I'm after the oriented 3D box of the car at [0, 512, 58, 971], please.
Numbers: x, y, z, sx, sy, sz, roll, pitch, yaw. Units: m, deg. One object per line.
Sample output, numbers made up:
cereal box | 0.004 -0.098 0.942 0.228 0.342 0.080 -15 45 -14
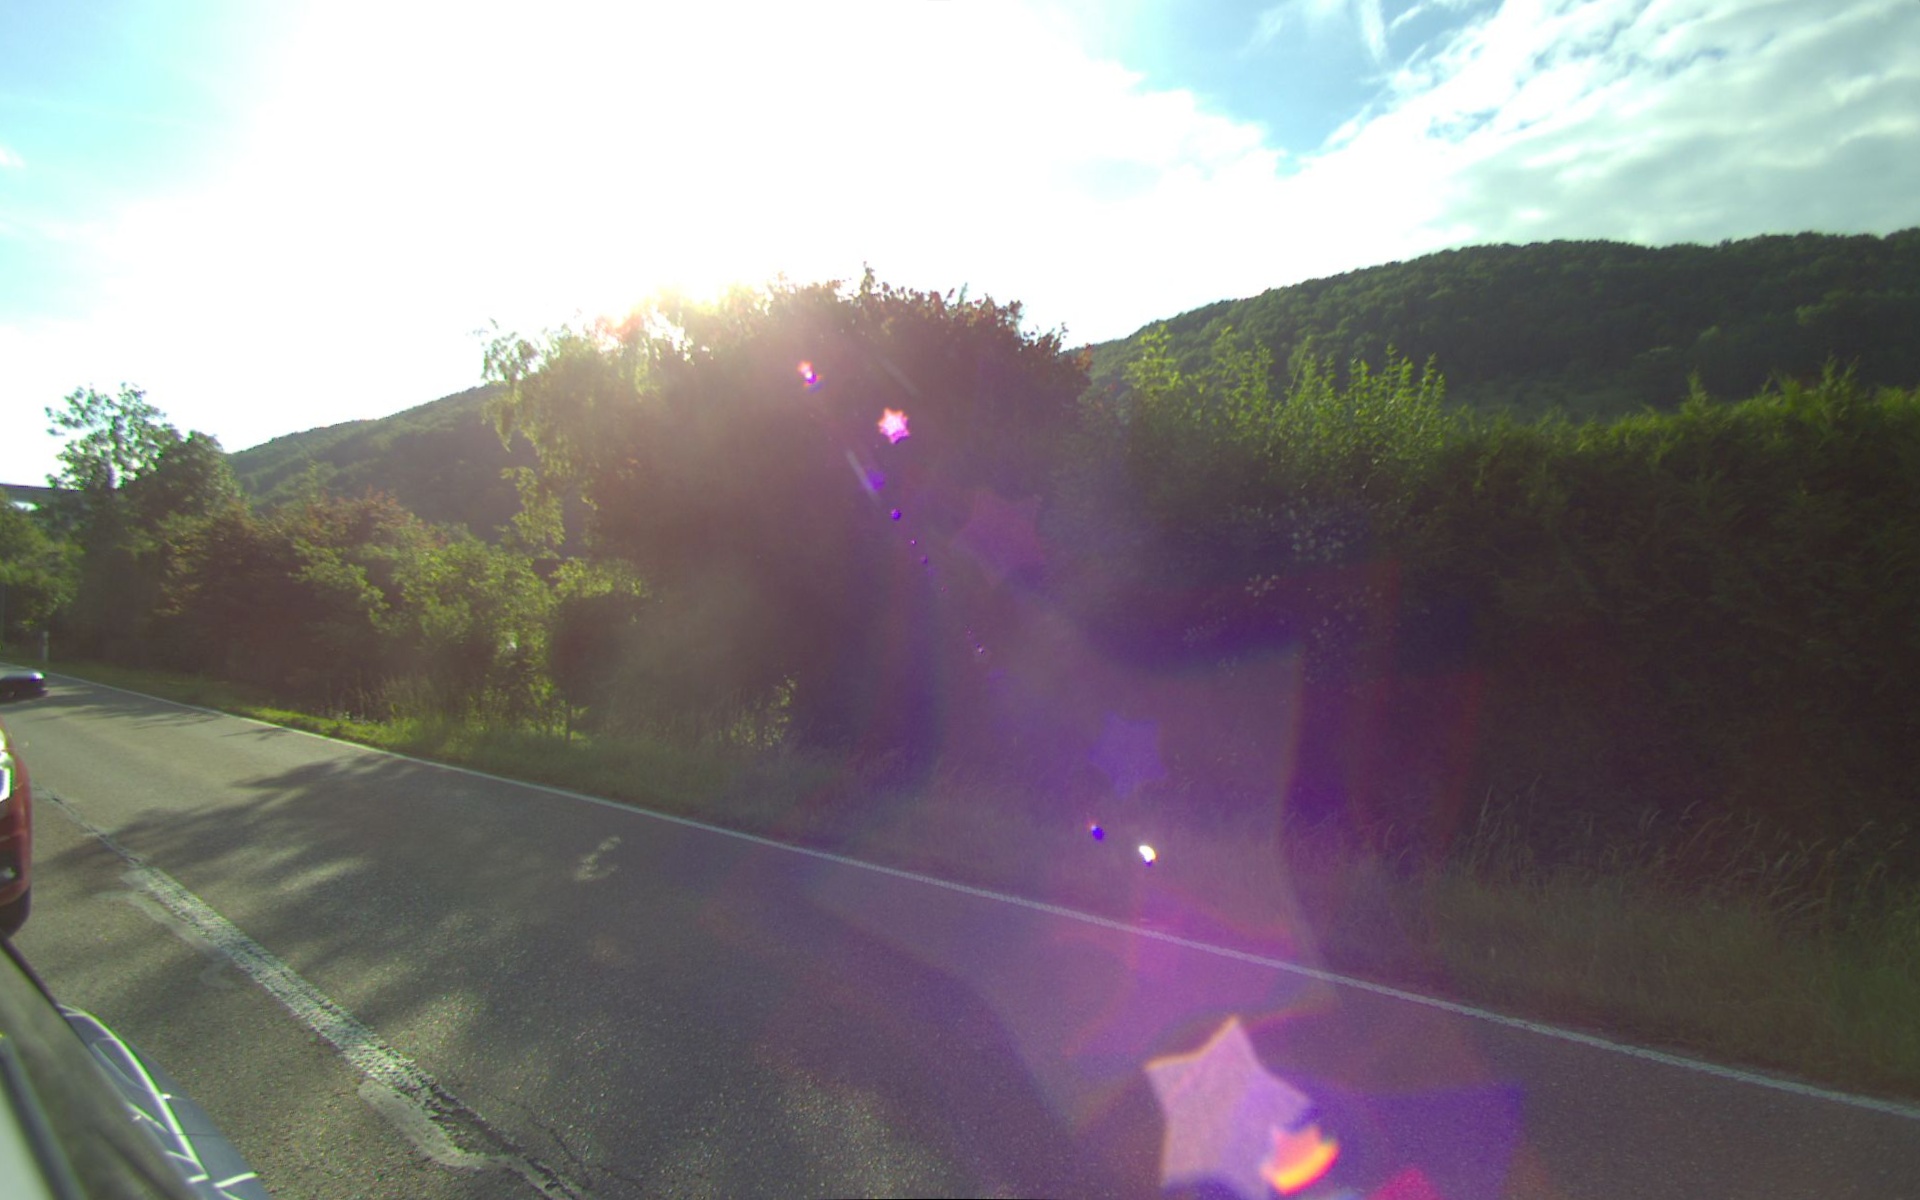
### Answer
car | -5.888 0.603 4.921 4.286 1.823 1.731 -1 1 42
